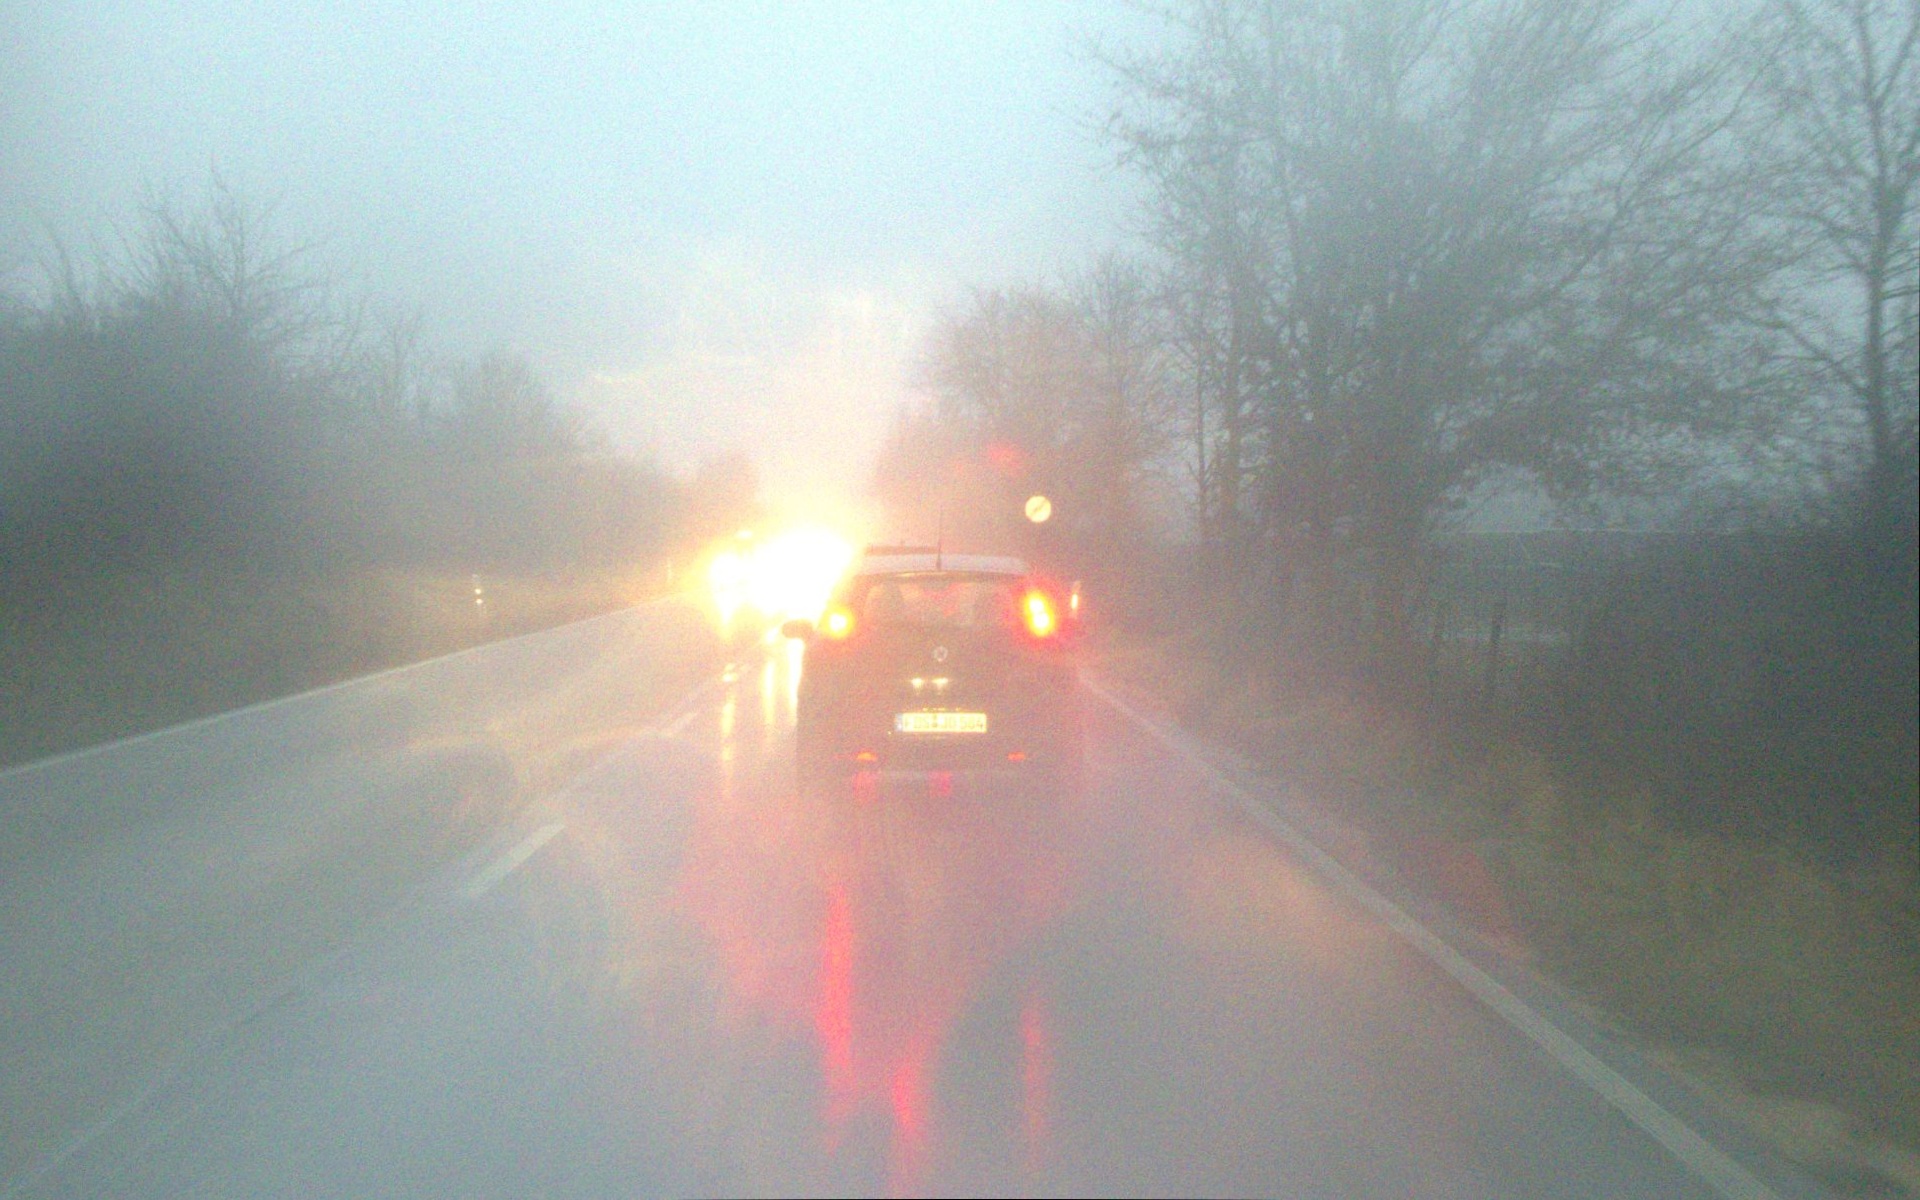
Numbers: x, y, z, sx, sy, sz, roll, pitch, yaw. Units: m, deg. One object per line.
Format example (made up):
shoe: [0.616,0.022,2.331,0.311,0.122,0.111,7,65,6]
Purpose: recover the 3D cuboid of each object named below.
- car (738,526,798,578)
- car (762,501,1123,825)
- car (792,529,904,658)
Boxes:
car: [-5.869,-1.463,105.449,1.691,1.525,4.086,1,1,-1]
car: [-0.108,0.328,21.283,1.993,1.778,4.000,1,1,0]
car: [-1.679,-0.123,52.523,1.574,1.868,3.709,1,1,0]
